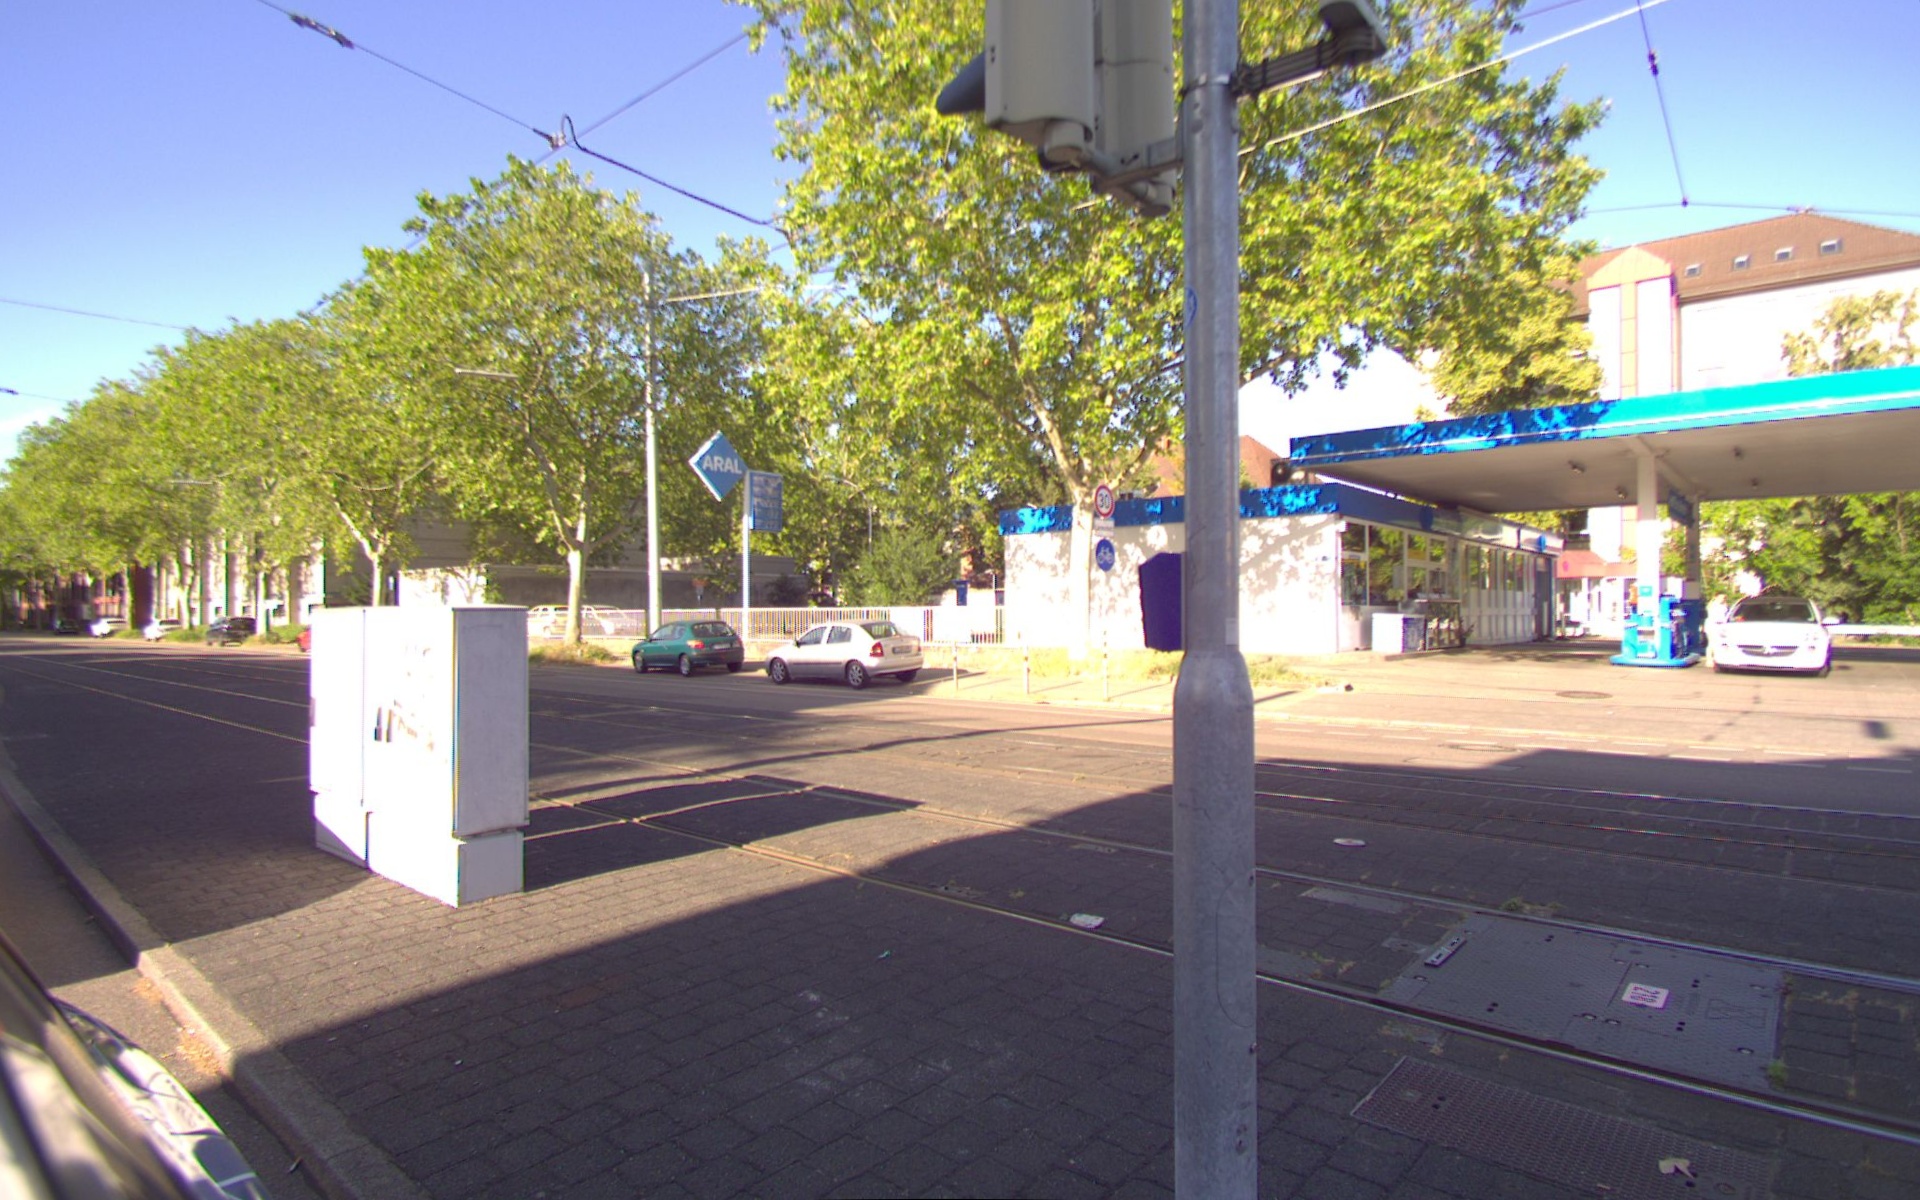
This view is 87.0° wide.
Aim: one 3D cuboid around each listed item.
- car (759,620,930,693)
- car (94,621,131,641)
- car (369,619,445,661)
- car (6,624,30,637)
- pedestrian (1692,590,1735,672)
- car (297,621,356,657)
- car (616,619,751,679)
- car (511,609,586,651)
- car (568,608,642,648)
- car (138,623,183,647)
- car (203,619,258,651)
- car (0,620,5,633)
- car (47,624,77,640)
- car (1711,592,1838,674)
[{"bbox_3d":[-2.633,1.206,22.626,3.812,1.413,1.674,-1,1,41],"label":"car"},{"bbox_3d":[-66.680,2.453,79.584,3.748,1.459,1.674,-1,1,41],"label":"car"},{"bbox_3d":[-21.875,1.561,39.984,3.303,1.519,1.579,-1,1,41],"label":"car"},{"bbox_3d":[-112.143,3.573,120.479,3.748,1.459,1.674,-1,1,41],"label":"car"},{"bbox_3d":[16.038,0.658,21.548,0.493,1.714,0.649,1,-2,-45],"label":"pedestrian"},{"bbox_3d":[-28.685,1.759,45.811,2.621,1.519,1.579,-1,1,41],"label":"car"},{"bbox_3d":[-7.398,1.268,26.954,3.748,1.413,1.674,-1,1,41],"label":"car"},{"bbox_3d":[-17.083,1.233,41.952,3.303,1.628,1.579,-1,0,41],"label":"car"},{"bbox_3d":[-15.264,1.197,43.429,3.303,1.604,1.579,-1,0,41],"label":"car"},{"bbox_3d":[-53.861,2.348,68.158,3.748,1.459,1.674,-1,1,41],"label":"car"},{"bbox_3d":[-40.676,1.944,56.433,3.748,1.670,1.674,-1,1,41],"label":"car"},{"bbox_3d":[-133.936,3.690,140.444,3.748,1.798,1.674,-1,1,41],"label":"car"},{"bbox_3d":[-85.242,3.038,96.020,3.748,1.459,1.674,-1,1,41],"label":"car"},{"bbox_3d":[15.889,0.610,19.681,1.757,1.453,3.521,-1,-1,41],"label":"car"}]
